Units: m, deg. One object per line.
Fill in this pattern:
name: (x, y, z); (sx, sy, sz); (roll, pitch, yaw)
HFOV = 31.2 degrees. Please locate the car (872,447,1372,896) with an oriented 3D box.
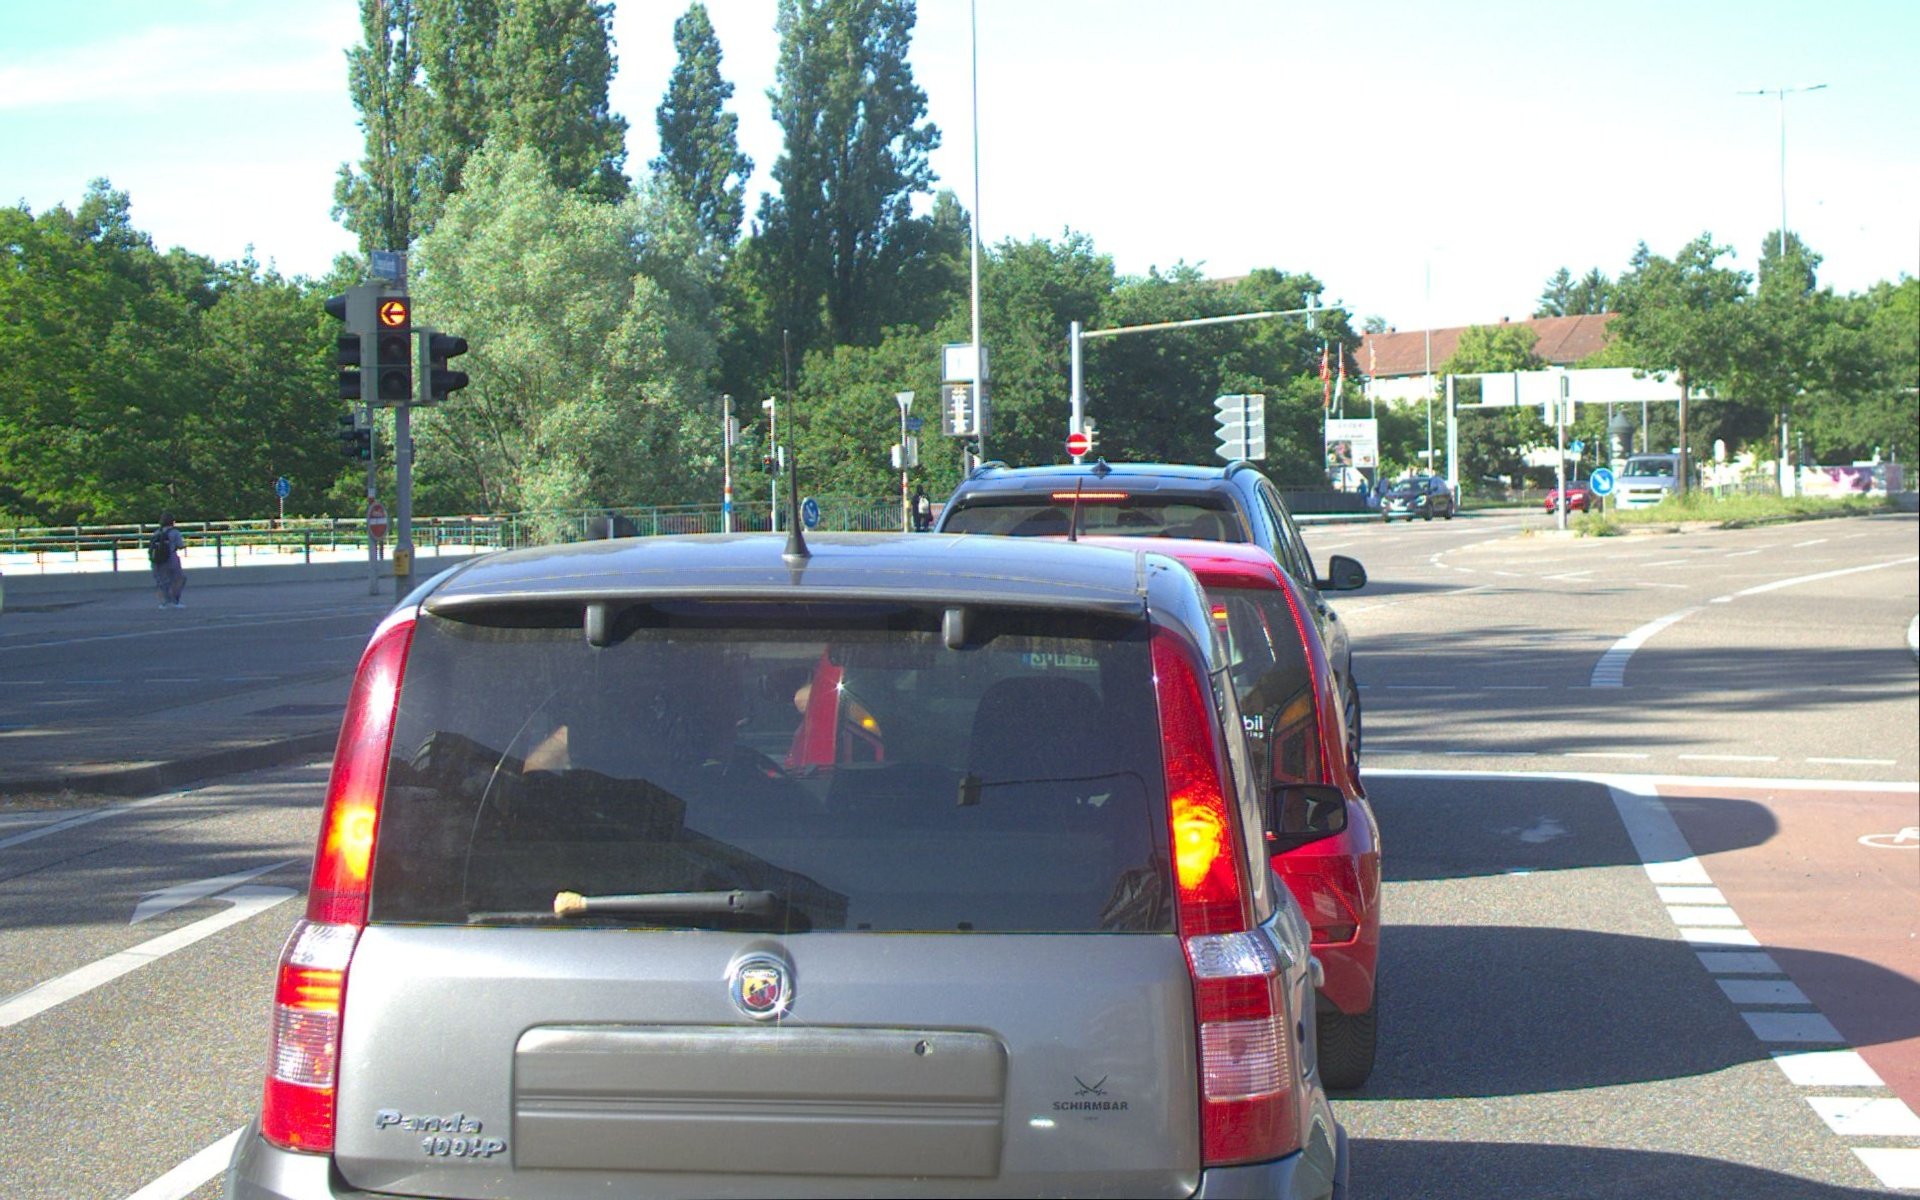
car: (0.906, 0.211, 16.094); (1.869, 1.784, 4.413); (1, 2, 9)

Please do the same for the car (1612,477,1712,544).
car: (21.535, -2.725, 105.350); (2.015, 1.848, 4.880); (0, -1, 24)

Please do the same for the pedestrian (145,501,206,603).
pedestrian: (-12.515, -0.755, 54.874); (0.686, 1.533, 1.366); (0, -3, -3)

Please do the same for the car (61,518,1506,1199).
car: (-0.136, 0.624, 6.363); (1.820, 1.484, 4.000); (2, 2, 3)

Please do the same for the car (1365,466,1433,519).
car: (16.998, -4.144, 133.021); (2.014, 1.848, 4.427); (0, -1, 16)

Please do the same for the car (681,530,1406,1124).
car: (0.289, 0.532, 10.719); (1.820, 1.474, 4.000); (1, 1, 2)
